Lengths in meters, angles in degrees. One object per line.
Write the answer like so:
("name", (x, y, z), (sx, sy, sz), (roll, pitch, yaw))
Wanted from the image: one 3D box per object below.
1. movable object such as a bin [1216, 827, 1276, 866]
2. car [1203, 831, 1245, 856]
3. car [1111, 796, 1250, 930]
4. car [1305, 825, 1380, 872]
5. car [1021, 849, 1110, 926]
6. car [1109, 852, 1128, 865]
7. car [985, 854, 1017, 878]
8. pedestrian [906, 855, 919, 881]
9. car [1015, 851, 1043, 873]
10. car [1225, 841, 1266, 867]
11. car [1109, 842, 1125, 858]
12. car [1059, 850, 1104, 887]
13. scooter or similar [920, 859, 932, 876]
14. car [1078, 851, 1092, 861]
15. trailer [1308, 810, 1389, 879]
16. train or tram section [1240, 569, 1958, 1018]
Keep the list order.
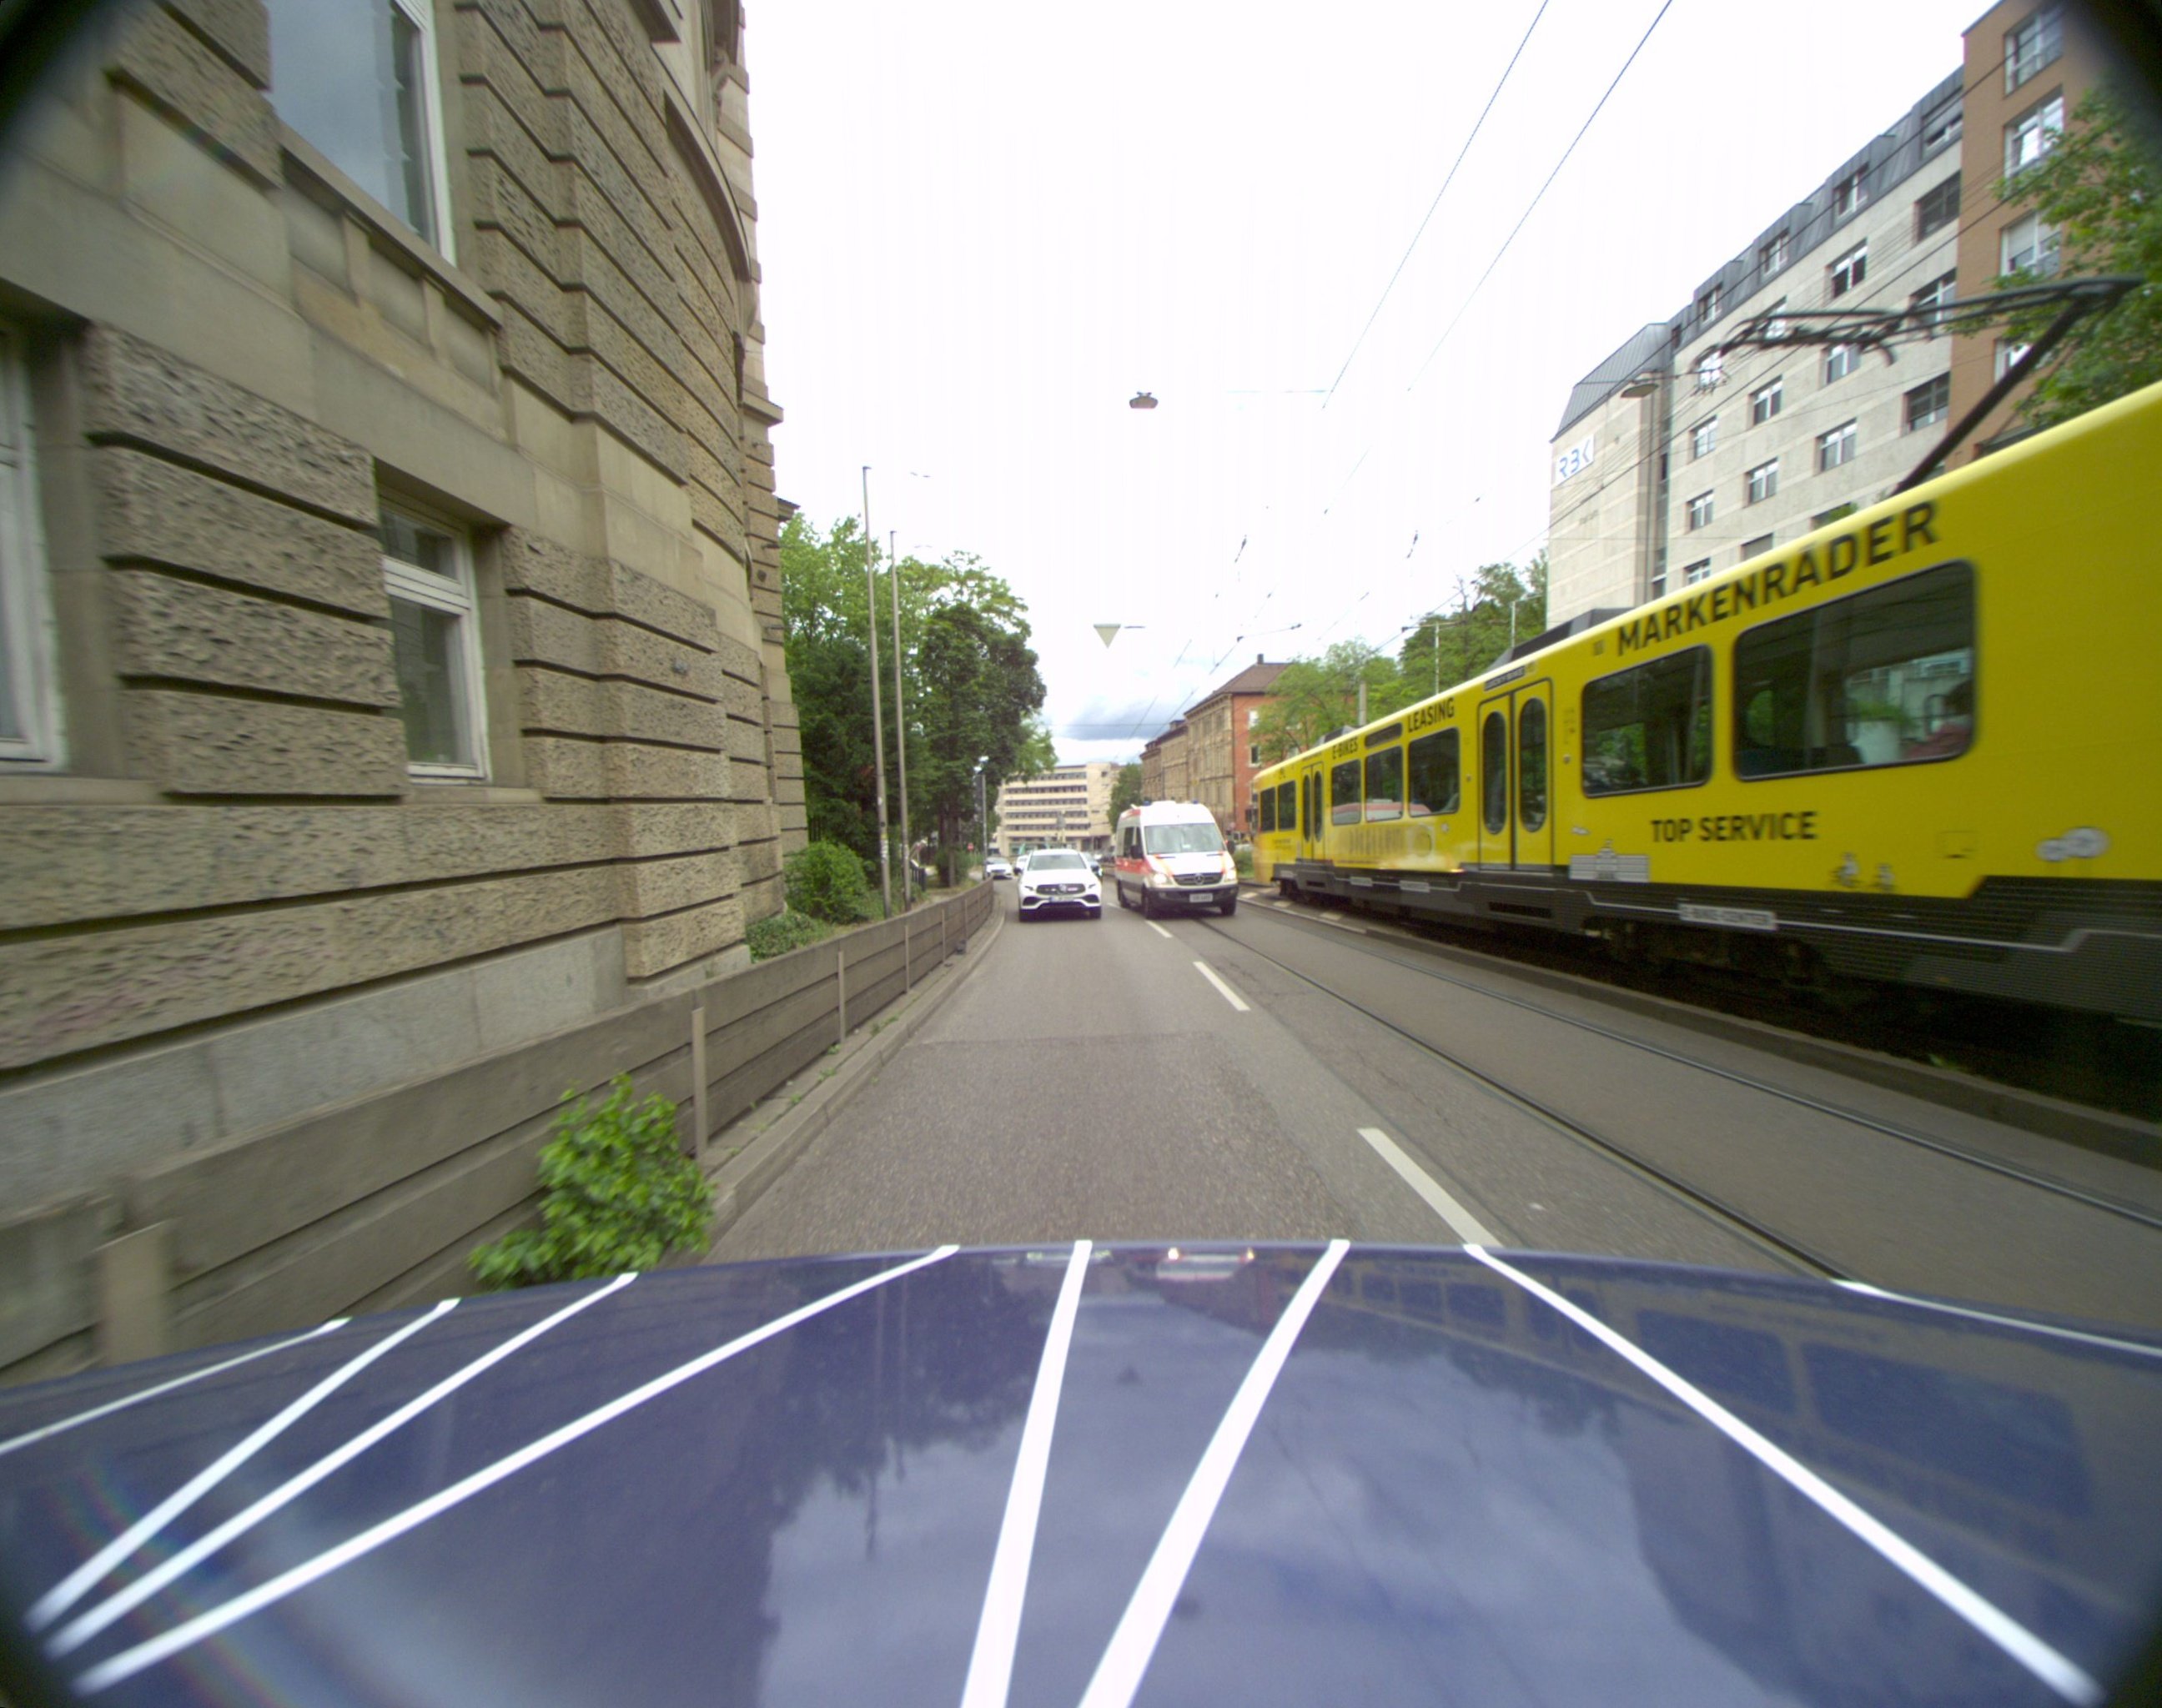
("movable object such as a bin", (15.610, -0.664, 72.372), (2.757, 3.527, 6.540), (-2, 0, -16))
("car", (9.777, -0.673, 52.191), (1.998, 1.595, 4.609), (-1, 0, 1))
("car", (2.170, 0.200, 18.576), (2.040, 2.684, 5.851), (-2, 0, -5))
("car", (15.470, -0.320, 45.374), (2.162, 2.578, 6.335), (-1, 0, -1))
("car", (-0.461, 0.742, 18.832), (1.895, 1.610, 4.477), (-2, 0, -3))
("car", (4.479, 0.544, 91.066), (1.872, 1.510, 3.948), (-1, 0, -4))
("car", (-5.221, 0.778, 49.886), (1.822, 1.440, 3.852), (-2, 0, -3))
("pedestrian", (-11.602, 0.961, 52.241), (0.774, 1.693, 0.784), (-2, 1, -10))
("car", (-4.053, 0.568, 58.462), (1.999, 1.543, 4.314), (-2, 1, -6))
("car", (9.651, -0.016, 44.831), (1.663, 1.435, 3.740), (-1, 0, 2))
("car", (5.204, -0.516, 110.226), (1.872, 2.250, 4.748), (-2, 0, -4))
("car", (-0.022, 0.675, 36.586), (1.931, 1.563, 4.180), (-4, 0, -1))
("scooter or similar", (-11.373, 0.985, 55.724), (0.632, 1.203, 1.555), (-2, 0, -20))
("car", (0.654, 0.315, 131.077), (1.999, 1.575, 3.998), (-1, 0, -4))
("trailer", (12.718, -0.441, 36.509), (2.024, 2.956, 5.590), (-3, 0, 3))
("train or tram section", (6.049, -0.553, 13.987), (2.890, 3.704, 14.854), (-3, 0, 0))
